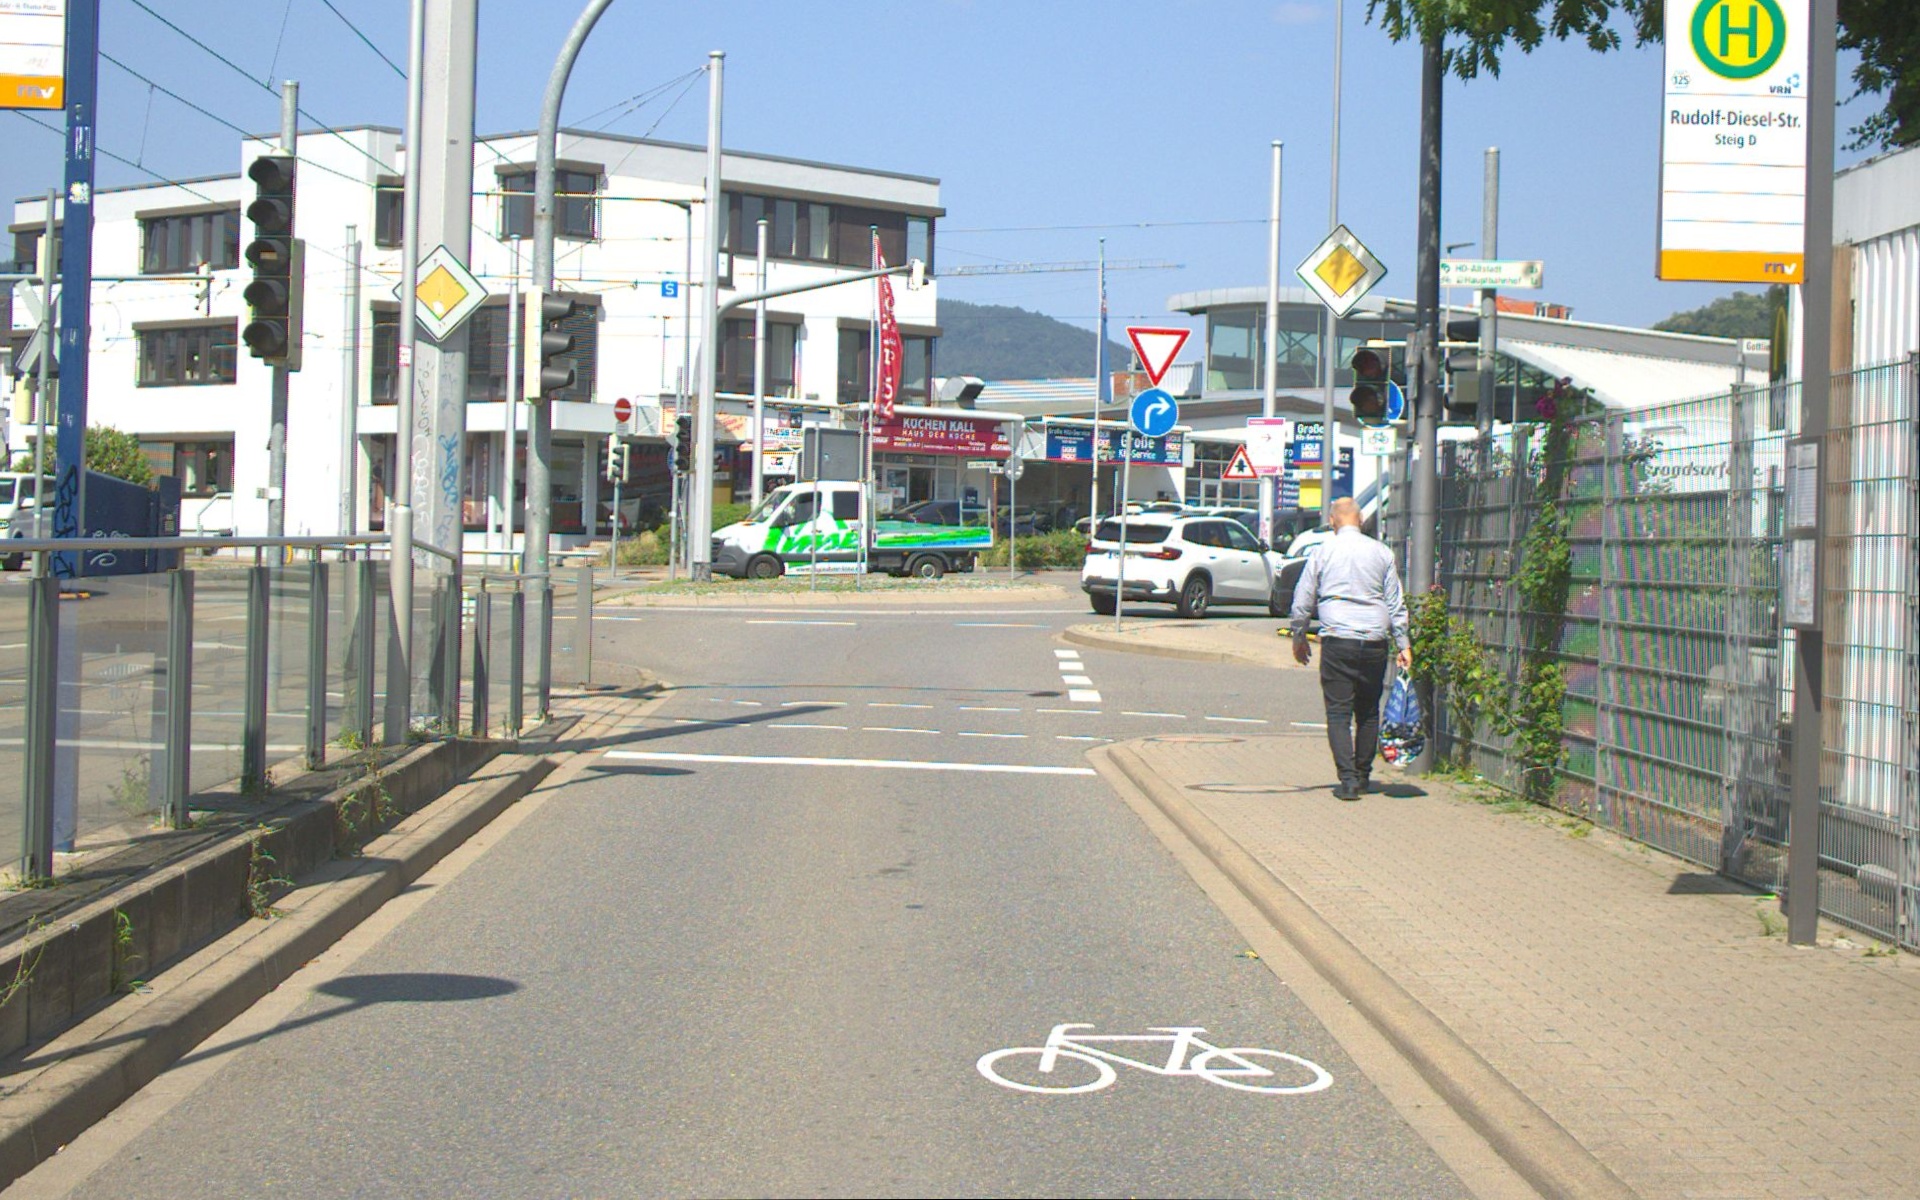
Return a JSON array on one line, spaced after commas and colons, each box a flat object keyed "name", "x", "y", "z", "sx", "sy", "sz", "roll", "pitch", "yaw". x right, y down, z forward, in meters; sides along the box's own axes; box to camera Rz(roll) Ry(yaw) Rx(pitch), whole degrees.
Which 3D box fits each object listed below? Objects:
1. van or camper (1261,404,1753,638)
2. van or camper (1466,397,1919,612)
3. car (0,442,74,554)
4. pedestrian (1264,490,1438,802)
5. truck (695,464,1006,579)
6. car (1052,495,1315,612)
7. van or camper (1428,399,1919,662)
[{"name": "van or camper", "x": 6.737, "y": -1.005, "z": 42.894, "sx": 5.811, "sy": 2.764, "sz": 2.091, "roll": 1, "pitch": 2, "yaw": 2}, {"name": "van or camper", "x": 10.896, "y": -1.344, "z": 48.798, "sx": 7.061, "sy": 2.936, "sz": 2.335, "roll": 0, "pitch": 1, "yaw": 0}, {"name": "car", "x": -19.045, "y": -2.008, "z": 67.751, "sx": 2.162, "sy": 2.007, "sz": 5.019, "roll": 3, "pitch": -1, "yaw": -5}, {"name": "pedestrian", "x": 2.164, "y": 0.242, "z": 19.139, "sx": 0.812, "sy": 1.693, "sz": 0.887, "roll": 0, "pitch": 1, "yaw": -3}, {"name": "truck", "x": -2.396, "y": -1.709, "z": 75.194, "sx": 6.366, "sy": 2.329, "sz": 2.210, "roll": 1, "pitch": 1, "yaw": -18}, {"name": "car", "x": 3.586, "y": -0.730, "z": 54.456, "sx": 1.998, "sy": 1.727, "sz": 4.554, "roll": 2, "pitch": 2, "yaw": 36}, {"name": "van or camper", "x": 8.340, "y": -0.852, "z": 39.957, "sx": 5.507, "sy": 2.804, "sz": 2.048, "roll": 2, "pitch": 3, "yaw": 4}]
